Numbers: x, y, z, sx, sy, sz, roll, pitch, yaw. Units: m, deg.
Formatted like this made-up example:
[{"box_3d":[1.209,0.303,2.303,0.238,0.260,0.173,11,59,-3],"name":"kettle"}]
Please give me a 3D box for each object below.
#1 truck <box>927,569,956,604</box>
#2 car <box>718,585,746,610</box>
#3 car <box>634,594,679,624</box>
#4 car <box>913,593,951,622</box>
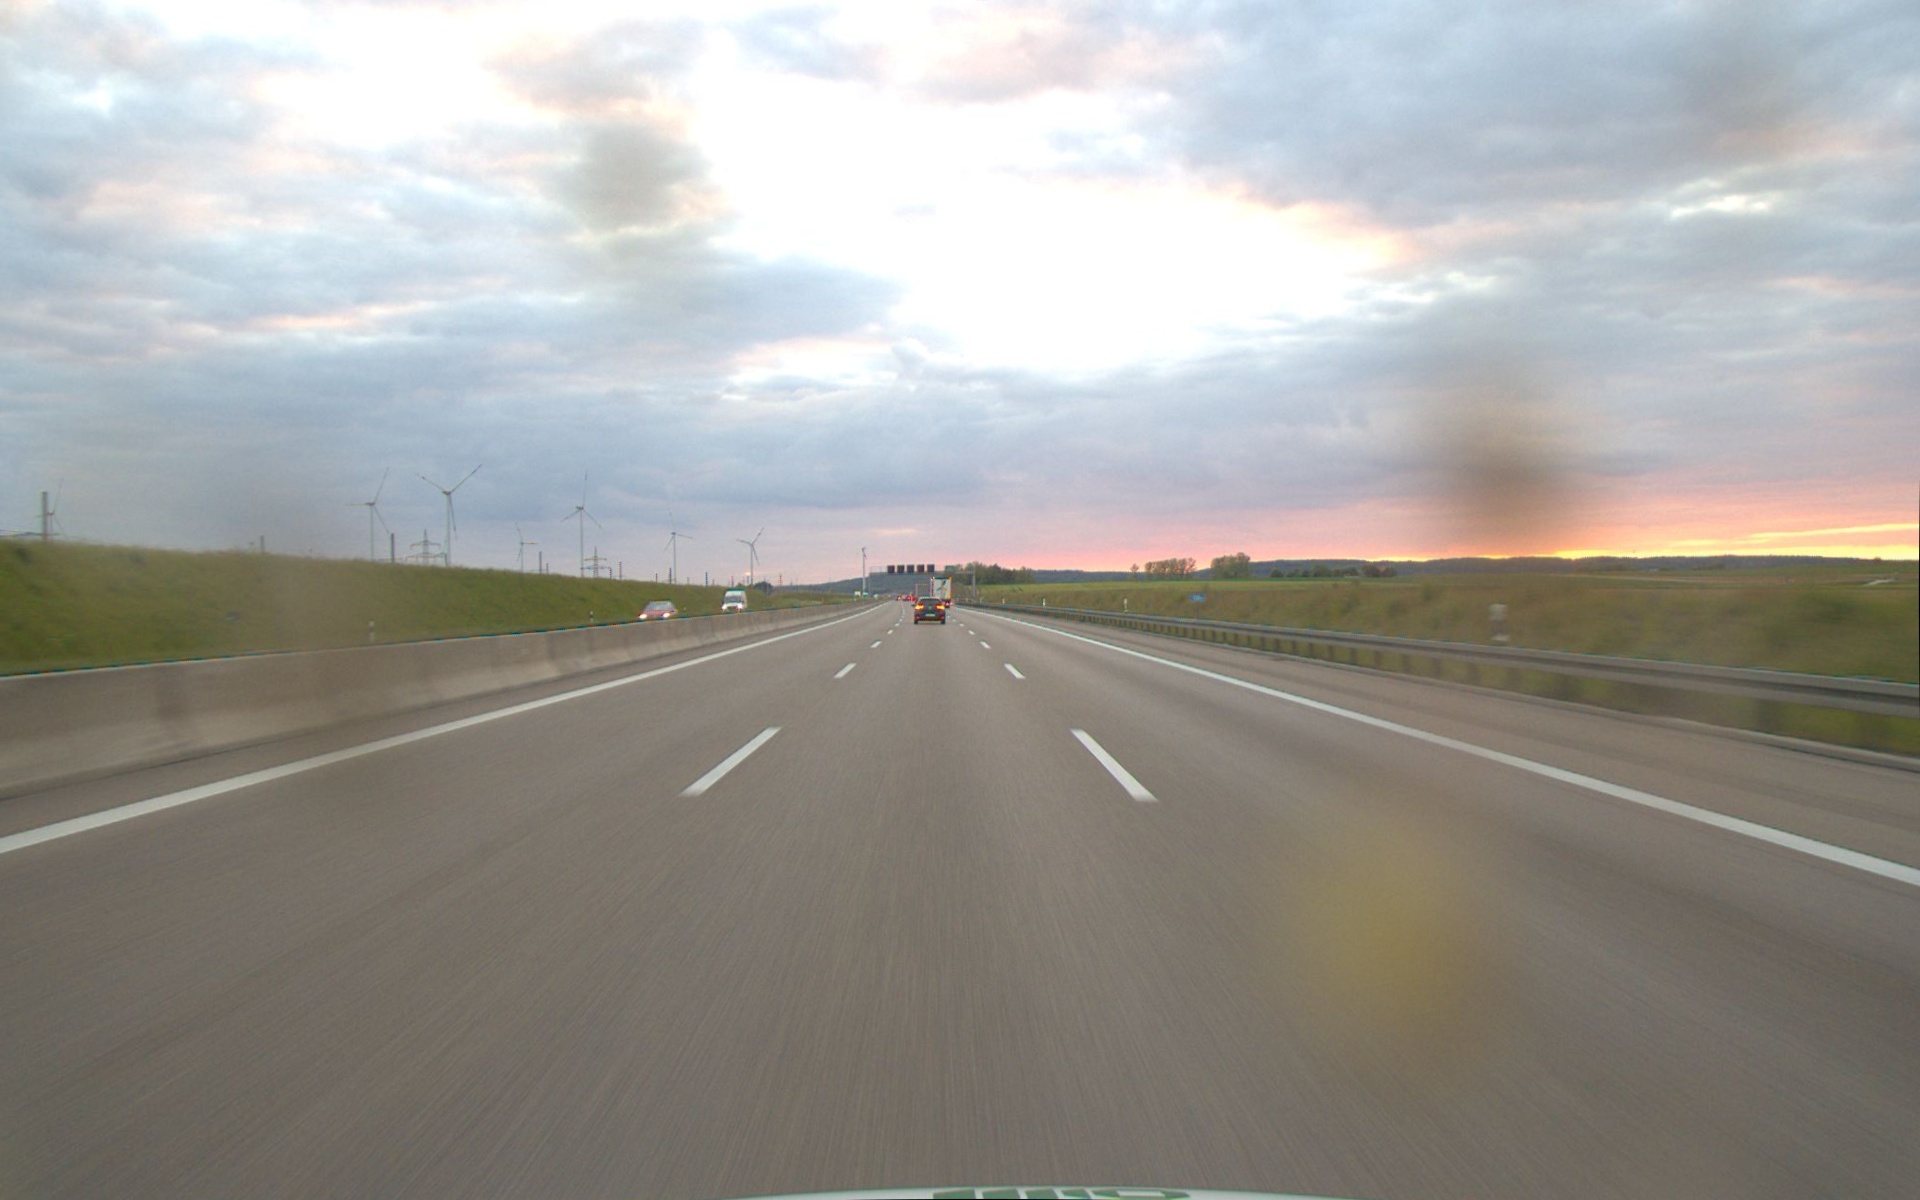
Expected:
[{"box_3d":[-2.614,-1.872,229.204,3.601,4.644,10.977,-1,0,-2],"name":"truck"},{"box_3d":[-23.916,-0.280,173.649,1.953,2.591,7.376,-1,0,-1],"name":"car"},{"box_3d":[-17.204,0.477,94.004,1.815,1.620,4.105,-2,0,-1],"name":"car"},{"box_3d":[-1.530,0.386,90.688,1.947,1.454,4.000,-1,1,0],"name":"car"}]
